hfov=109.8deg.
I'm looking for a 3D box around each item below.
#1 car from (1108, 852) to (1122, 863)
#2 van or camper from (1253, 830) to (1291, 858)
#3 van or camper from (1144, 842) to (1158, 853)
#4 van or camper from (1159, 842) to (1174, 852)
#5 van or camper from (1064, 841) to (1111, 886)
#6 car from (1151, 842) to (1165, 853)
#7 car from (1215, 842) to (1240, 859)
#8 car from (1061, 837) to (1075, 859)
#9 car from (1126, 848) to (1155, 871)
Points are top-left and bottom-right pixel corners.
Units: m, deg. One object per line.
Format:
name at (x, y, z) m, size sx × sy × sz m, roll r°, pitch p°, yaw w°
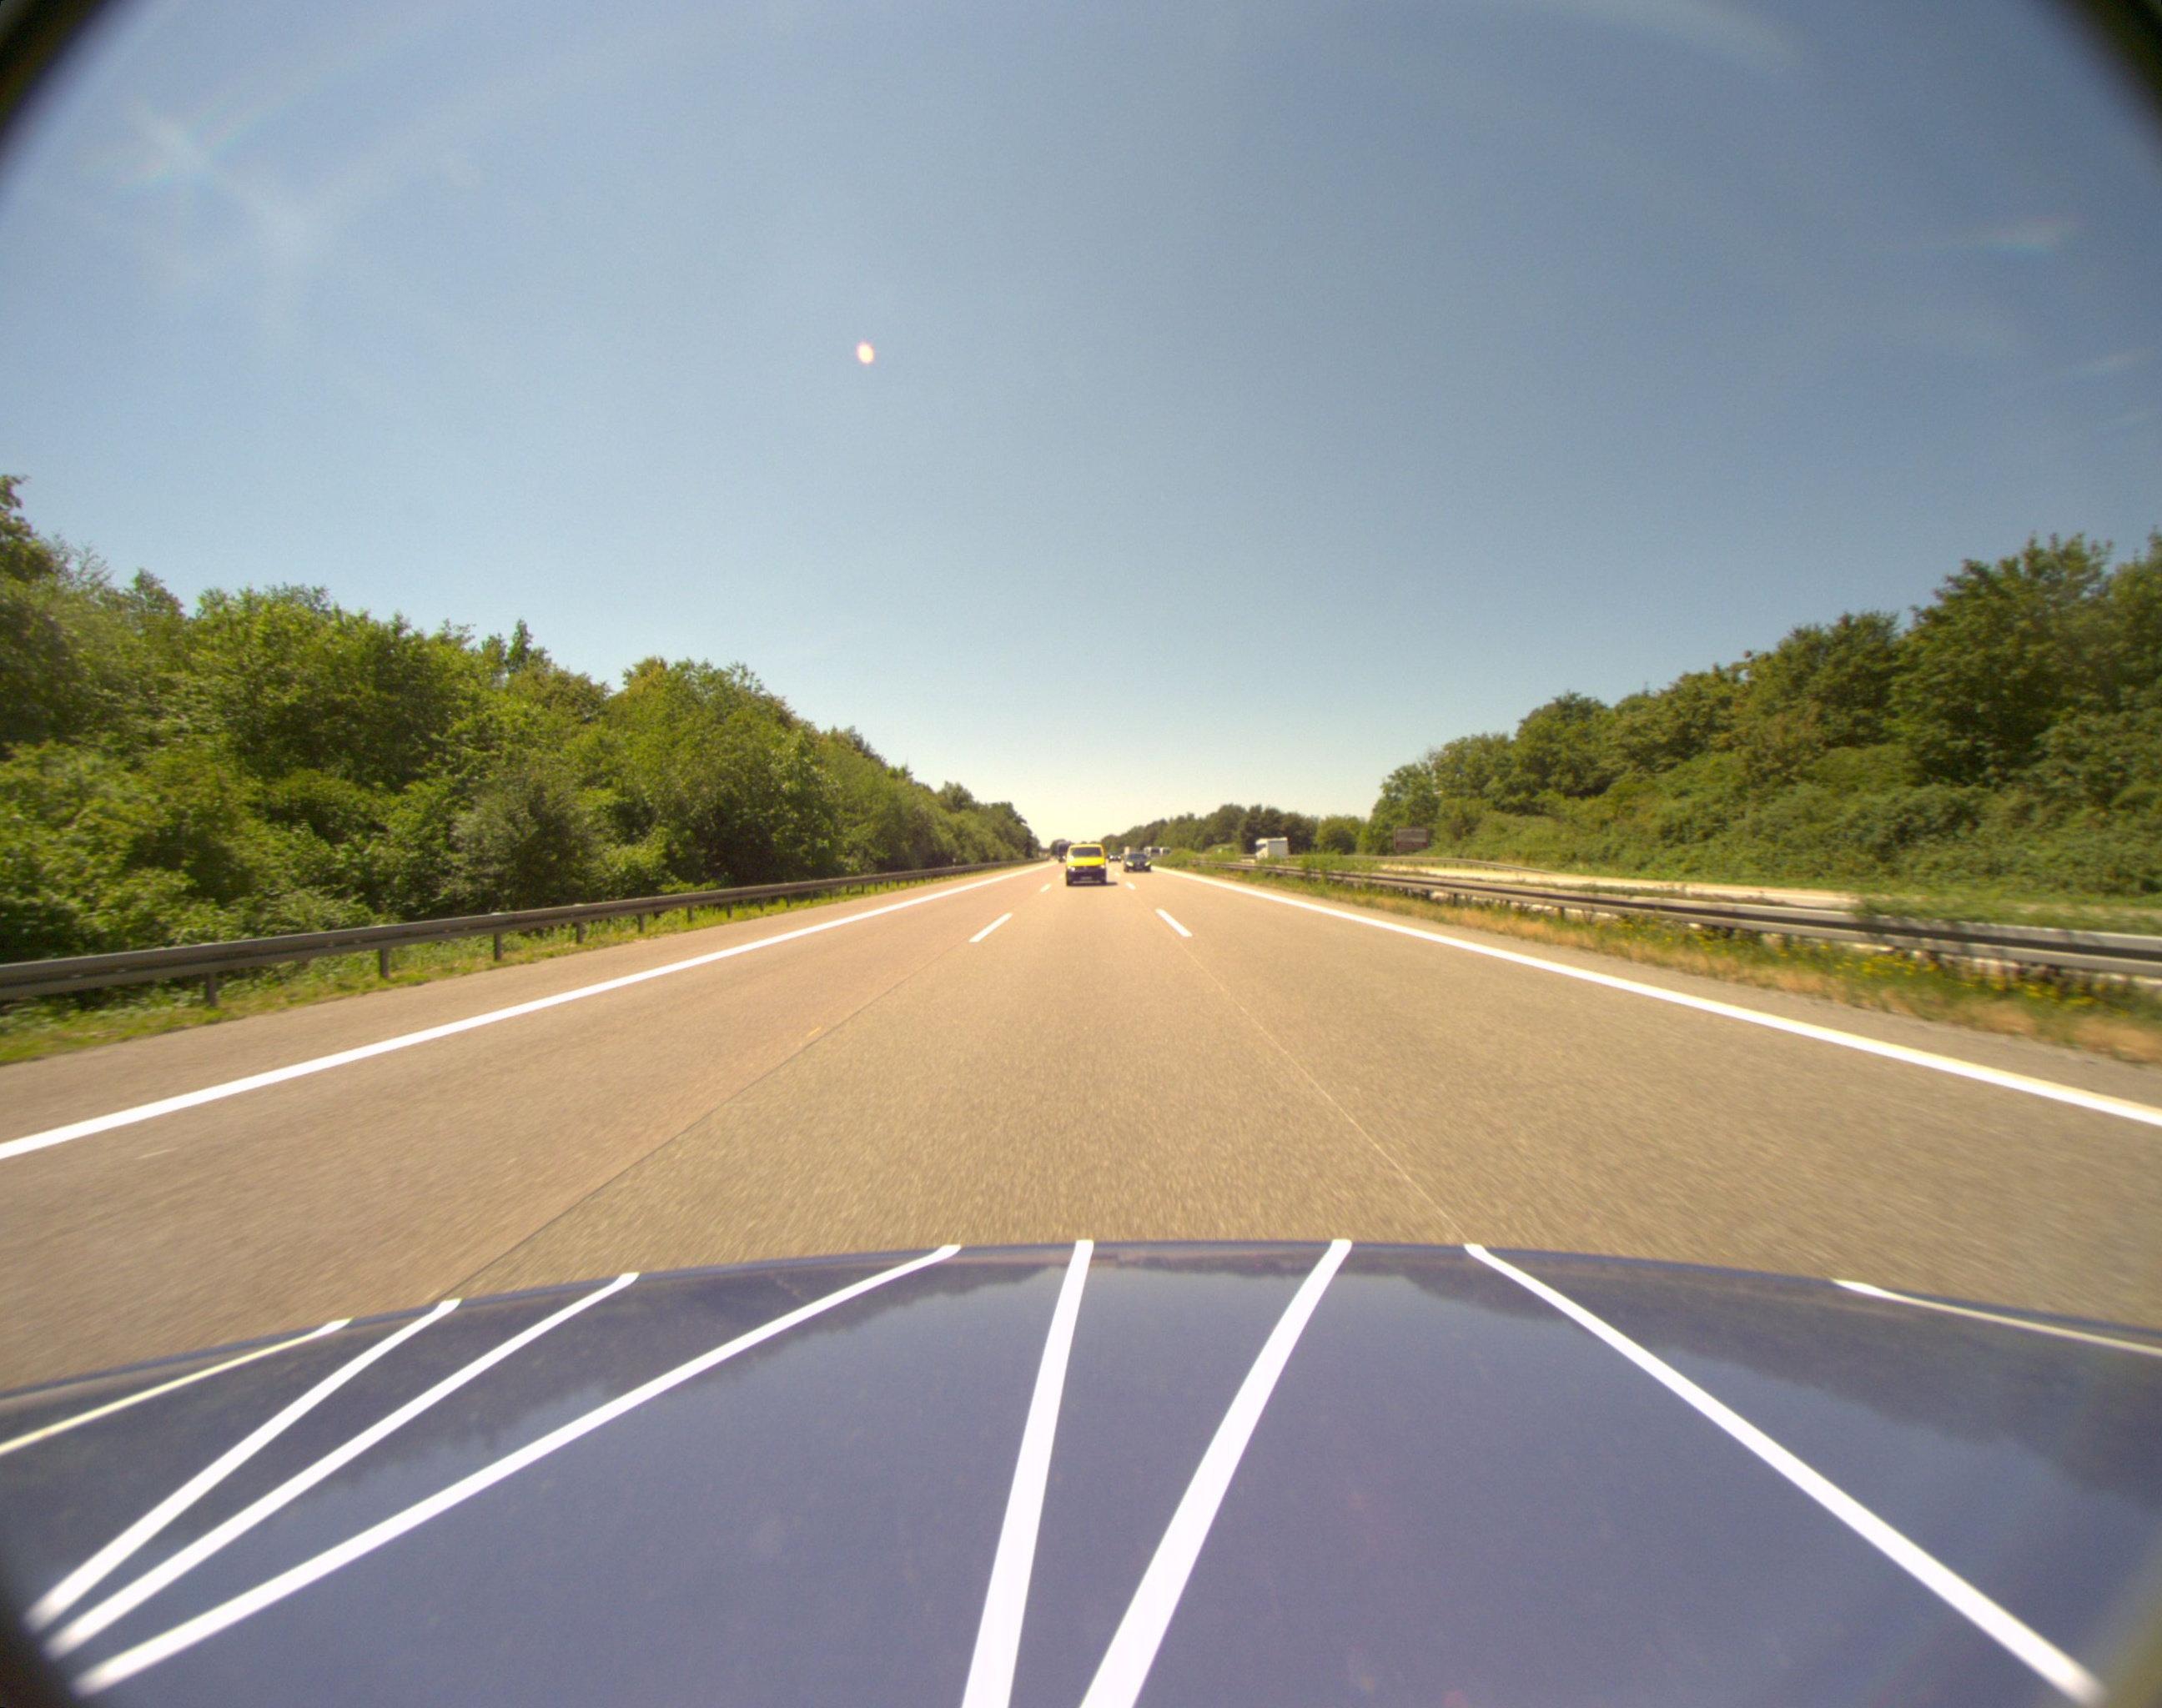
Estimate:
car at (5.091, 0.446, 113.207) m, size 1.894 × 1.541 × 4.039 m, roll 1°, pitch 1°, yaw 1°
van or camper at (21.915, -1.130, 87.605) m, size 2.612 × 2.985 × 7.755 m, roll -1°, pitch 1°, yaw 1°
van or camper at (17.784, -1.722, 193.891) m, size 2.950 × 2.675 × 6.746 m, roll -1°, pitch 1°, yaw 1°
van or camper at (18.591, -1.497, 164.927) m, size 2.612 × 2.174 × 6.746 m, roll -1°, pitch 1°, yaw 1°
van or camper at (0.429, 0.392, 37.096) m, size 2.063 × 1.992 × 5.884 m, roll -1°, pitch 1°, yaw 2°
car at (14.849, -1.236, 146.544) m, size 2.237 × 2.174 × 6.385 m, roll -1°, pitch 1°, yaw 1°
car at (19.841, -0.519, 102.857) m, size 2.288 × 2.174 × 5.945 m, roll -1°, pitch 1°, yaw 1°
car at (-2.395, -1.174, 145.735) m, size 2.298 × 3.886 × 9.268 m, roll 1°, pitch 1°, yaw 1°
car at (4.367, 0.373, 56.143) m, size 1.894 × 1.541 × 4.039 m, roll 1°, pitch 1°, yaw 1°
